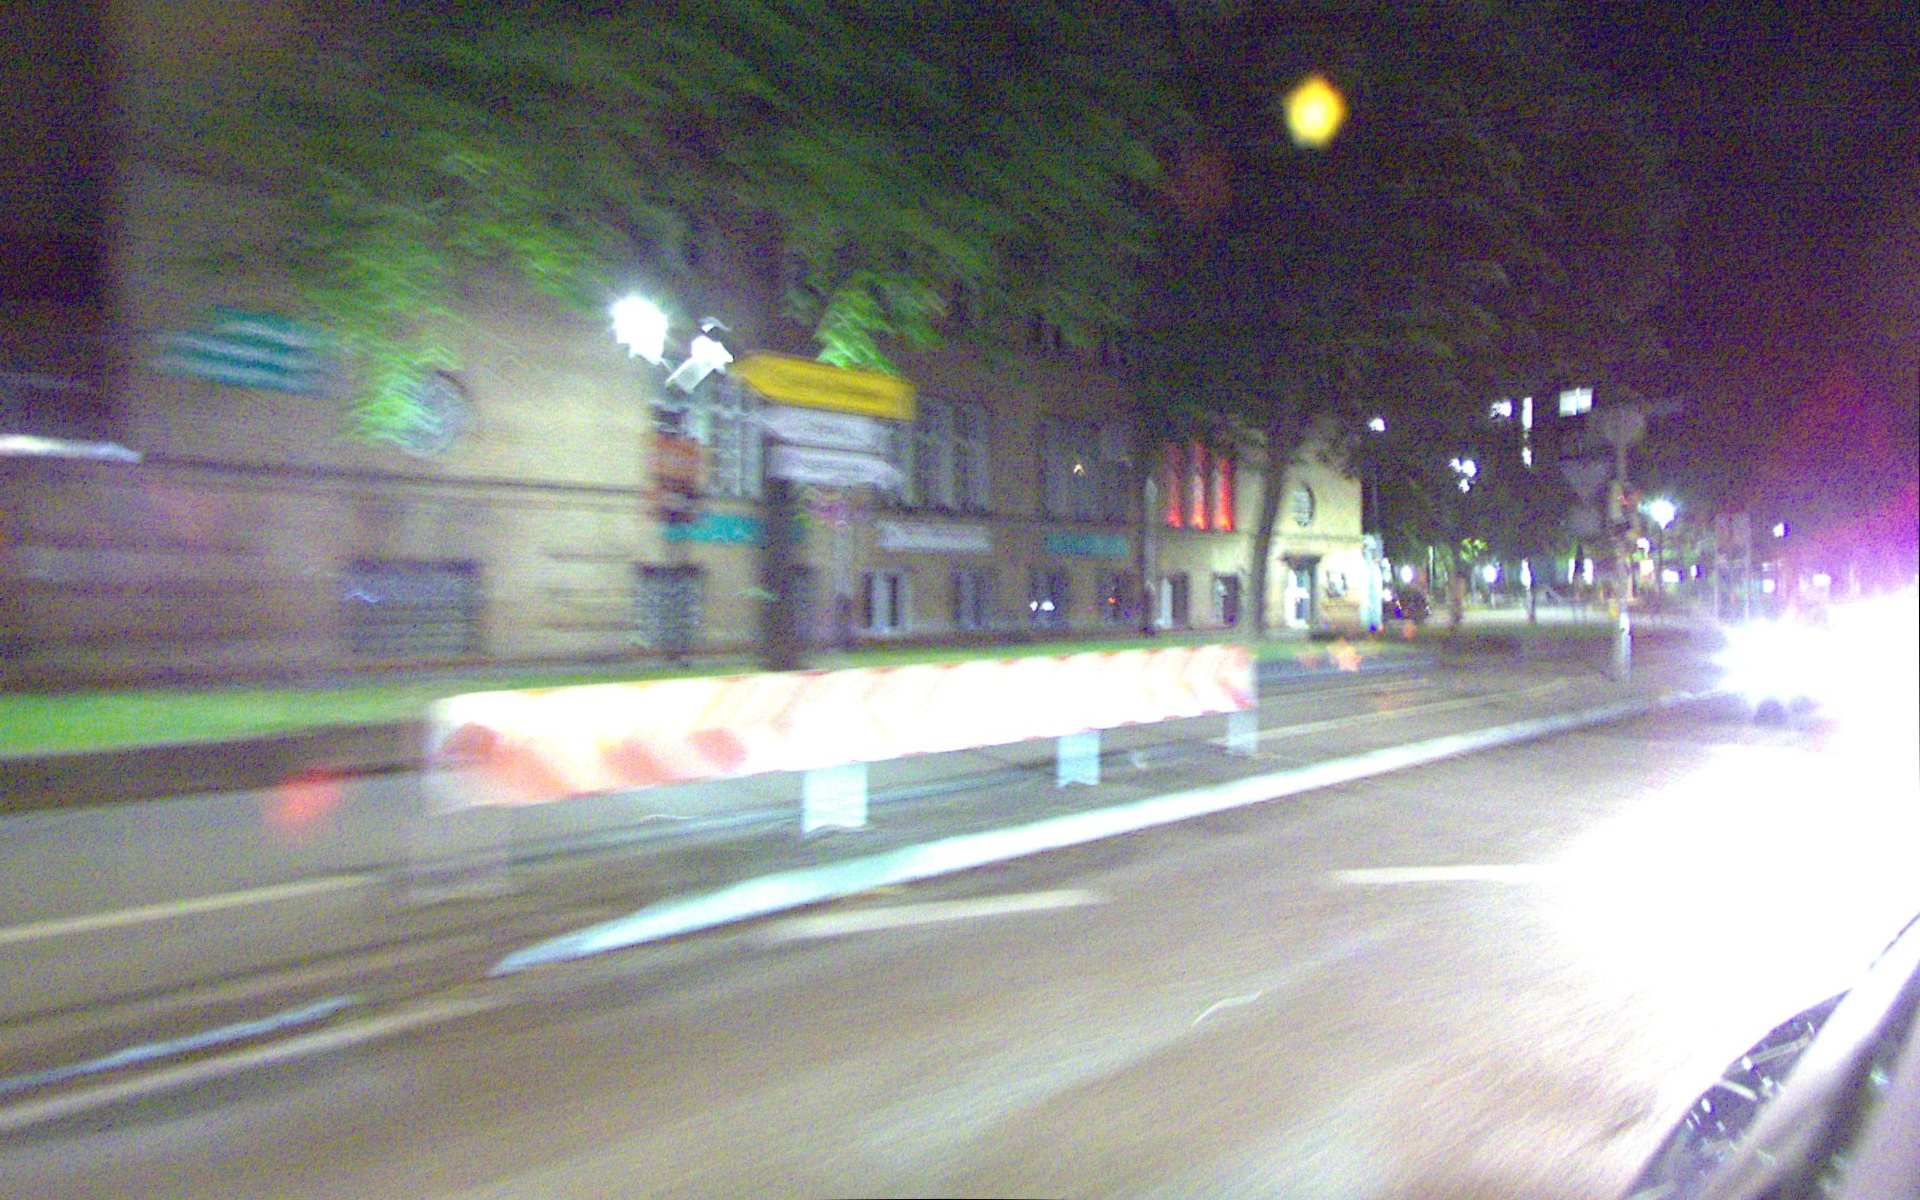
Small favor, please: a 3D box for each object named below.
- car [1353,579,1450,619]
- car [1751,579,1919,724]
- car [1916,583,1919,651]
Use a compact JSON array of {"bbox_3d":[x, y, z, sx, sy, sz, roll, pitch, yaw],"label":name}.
[{"bbox_3d":[16.558,-0.075,37.882,4.402,1.412,1.516,-1,2,-40],"label":"car"},{"bbox_3d":[11.166,0.516,12.318,3.930,1.513,1.640,-1,-1,-40],"label":"car"},{"bbox_3d":[23.647,0.323,23.291,4.645,1.513,1.808,-1,-1,-39],"label":"car"}]
